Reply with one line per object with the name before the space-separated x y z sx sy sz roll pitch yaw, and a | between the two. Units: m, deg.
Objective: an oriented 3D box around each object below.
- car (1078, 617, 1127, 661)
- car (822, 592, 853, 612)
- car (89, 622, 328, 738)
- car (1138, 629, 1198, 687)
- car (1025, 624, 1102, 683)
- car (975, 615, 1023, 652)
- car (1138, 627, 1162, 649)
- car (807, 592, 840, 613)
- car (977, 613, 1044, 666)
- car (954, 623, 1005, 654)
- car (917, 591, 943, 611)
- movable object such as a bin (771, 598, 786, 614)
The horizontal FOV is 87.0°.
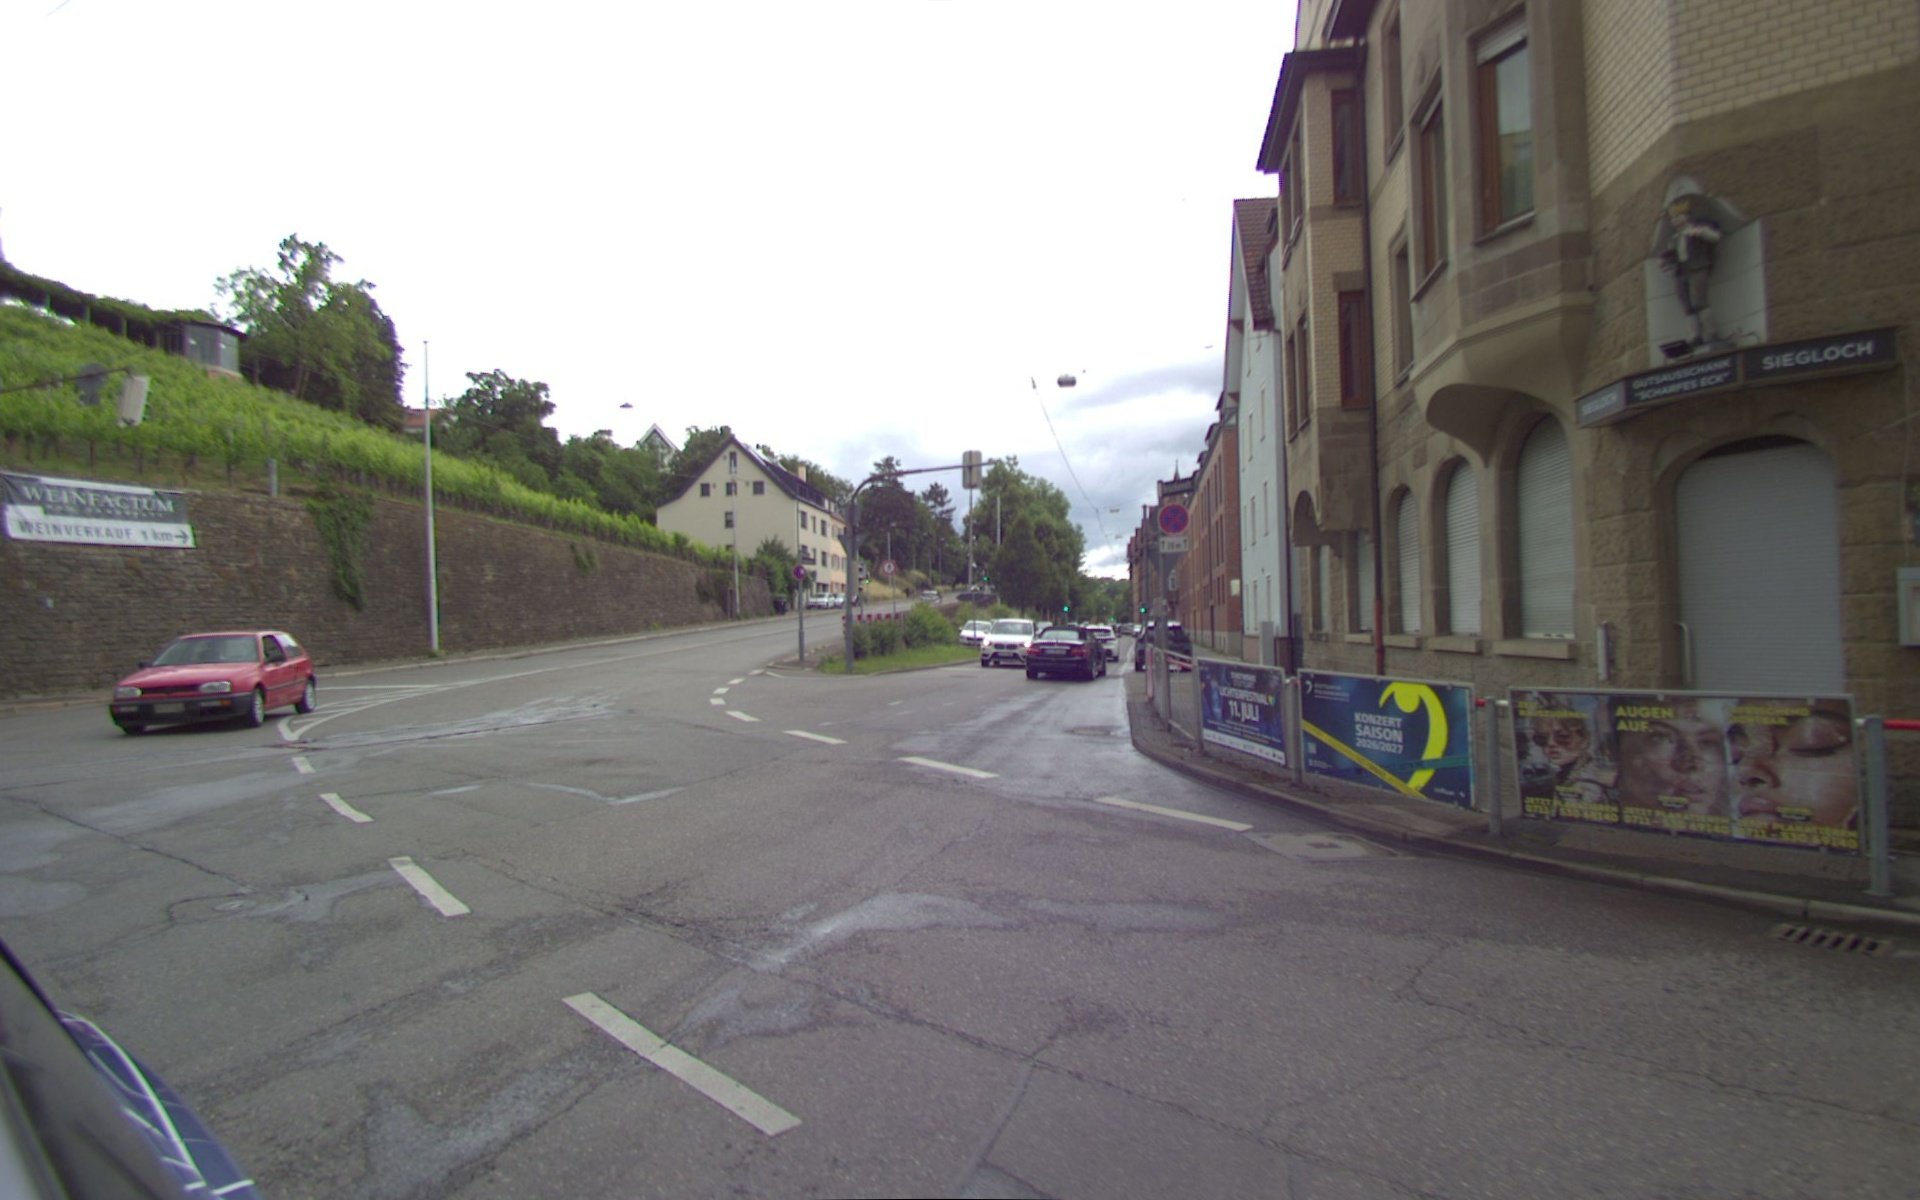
car | 5.918 1.574 41.799 1.669 1.477 3.904 -3 1 12
car | -11.212 0.168 93.062 1.713 1.586 4.239 -3 1 8
car | -11.296 1.105 15.548 1.619 1.449 4.012 -2 0 -16
car | 6.710 1.833 32.965 1.669 1.567 4.222 -2 0 9
car | 2.876 1.375 27.389 1.748 1.420 4.384 0 -1 10
car | 2.119 1.754 53.806 1.979 1.852 3.986 0 -1 11
car | 16.586 3.288 88.143 1.801 1.807 3.826 0 -1 15
car | -11.890 0.201 88.341 1.779 1.586 4.046 -3 1 8
car | 1.824 1.312 34.914 1.813 1.525 4.411 -2 0 9
car | 0.987 1.829 49.200 1.857 1.453 3.986 0 -1 11
car | -2.421 0.117 82.426 1.654 1.479 3.637 1 -2 5
movable object such as a bin | -12.870 0.416 71.740 0.802 1.135 0.873 -2 1 7
